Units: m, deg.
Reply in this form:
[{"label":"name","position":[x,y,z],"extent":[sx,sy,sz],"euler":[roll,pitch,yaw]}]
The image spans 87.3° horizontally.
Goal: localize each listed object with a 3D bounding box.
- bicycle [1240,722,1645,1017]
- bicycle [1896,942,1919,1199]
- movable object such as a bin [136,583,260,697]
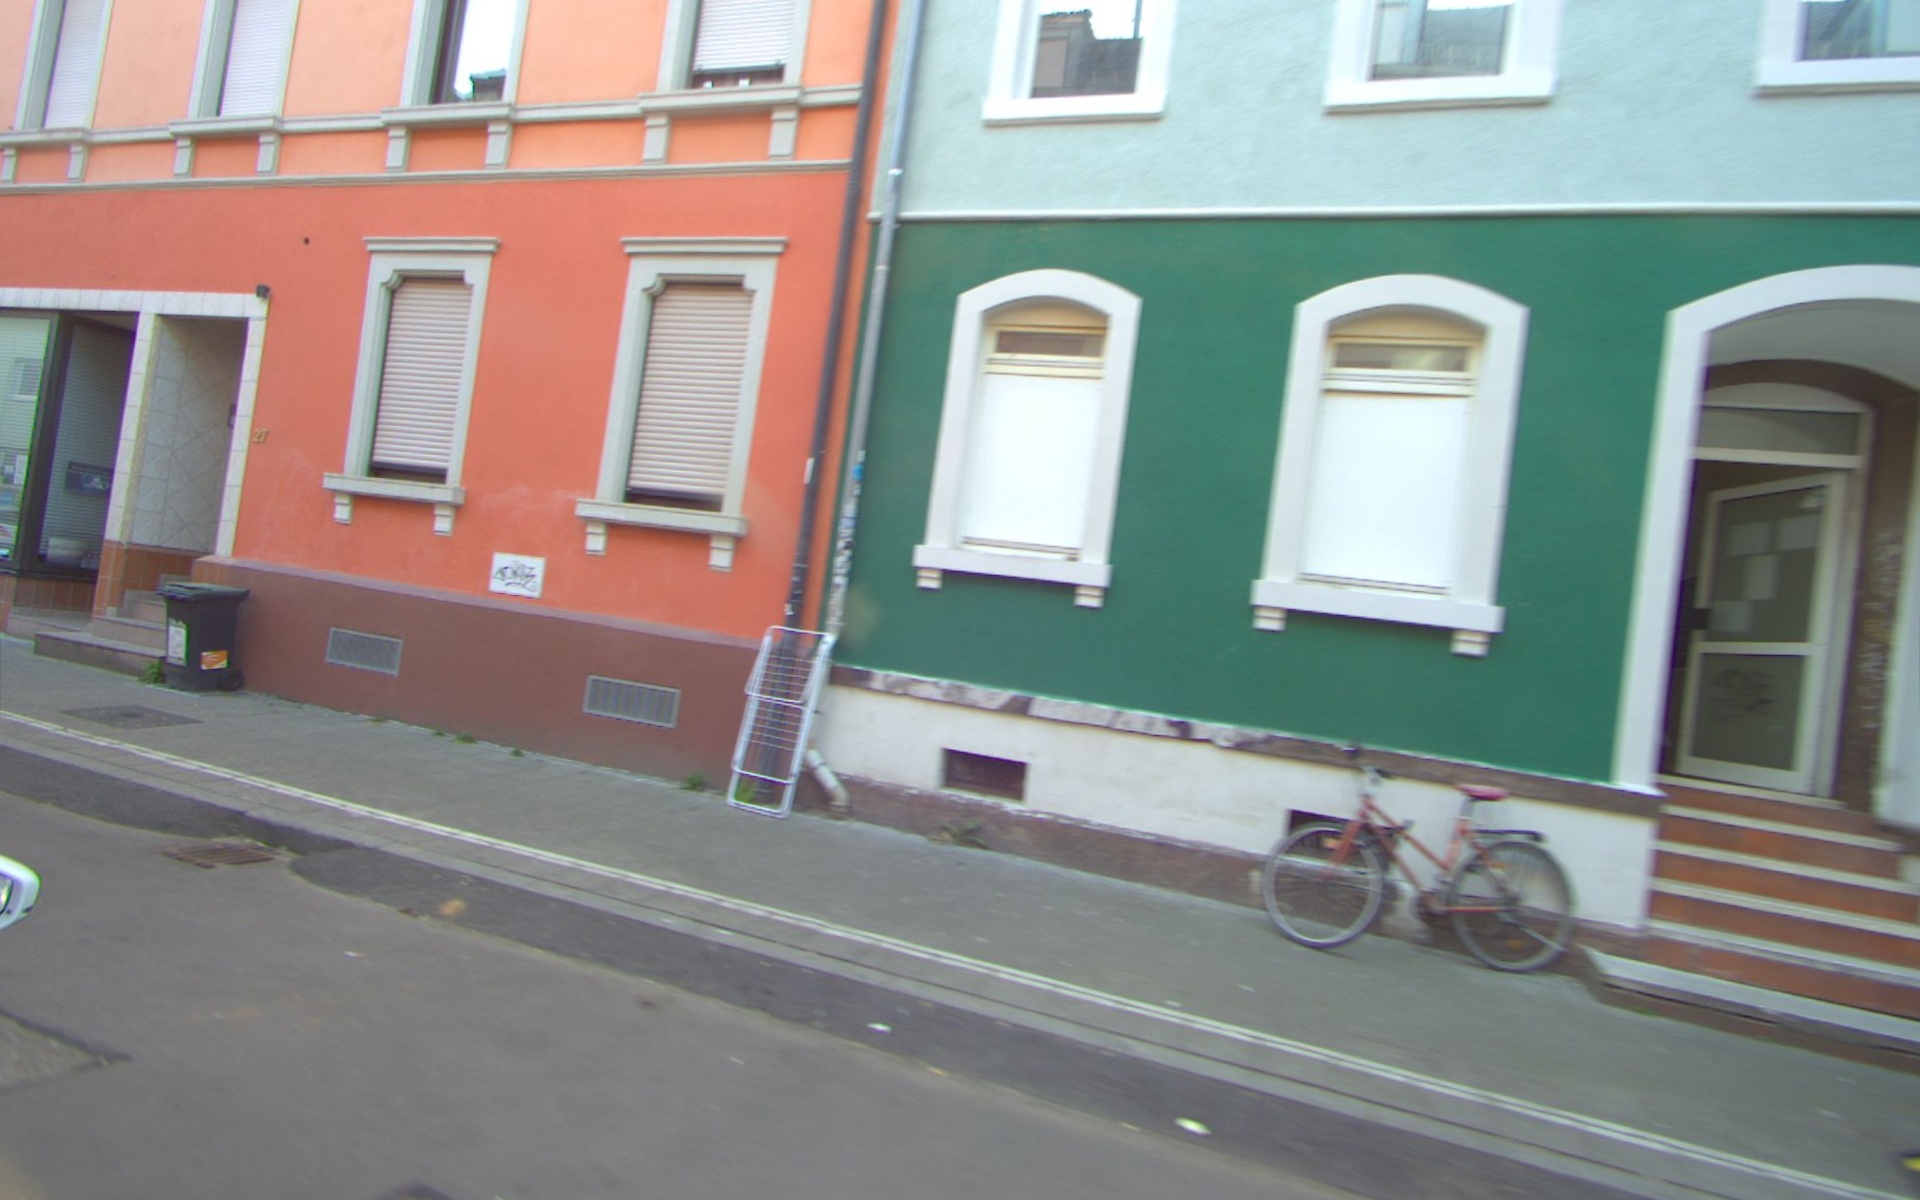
[{"label":"bicycle","position":[2.566,1.407,5.573],"extent":[1.800,1.143,0.656],"euler":[7,2,19]},{"label":"bicycle","position":[2.907,1.504,2.007],"extent":[0.631,1.122,1.859],"euler":[7,-4,13]},{"label":"movable object such as a bin","position":[-6.714,0.352,8.876],"extent":[0.568,0.917,0.599],"euler":[6,1,18]}]
